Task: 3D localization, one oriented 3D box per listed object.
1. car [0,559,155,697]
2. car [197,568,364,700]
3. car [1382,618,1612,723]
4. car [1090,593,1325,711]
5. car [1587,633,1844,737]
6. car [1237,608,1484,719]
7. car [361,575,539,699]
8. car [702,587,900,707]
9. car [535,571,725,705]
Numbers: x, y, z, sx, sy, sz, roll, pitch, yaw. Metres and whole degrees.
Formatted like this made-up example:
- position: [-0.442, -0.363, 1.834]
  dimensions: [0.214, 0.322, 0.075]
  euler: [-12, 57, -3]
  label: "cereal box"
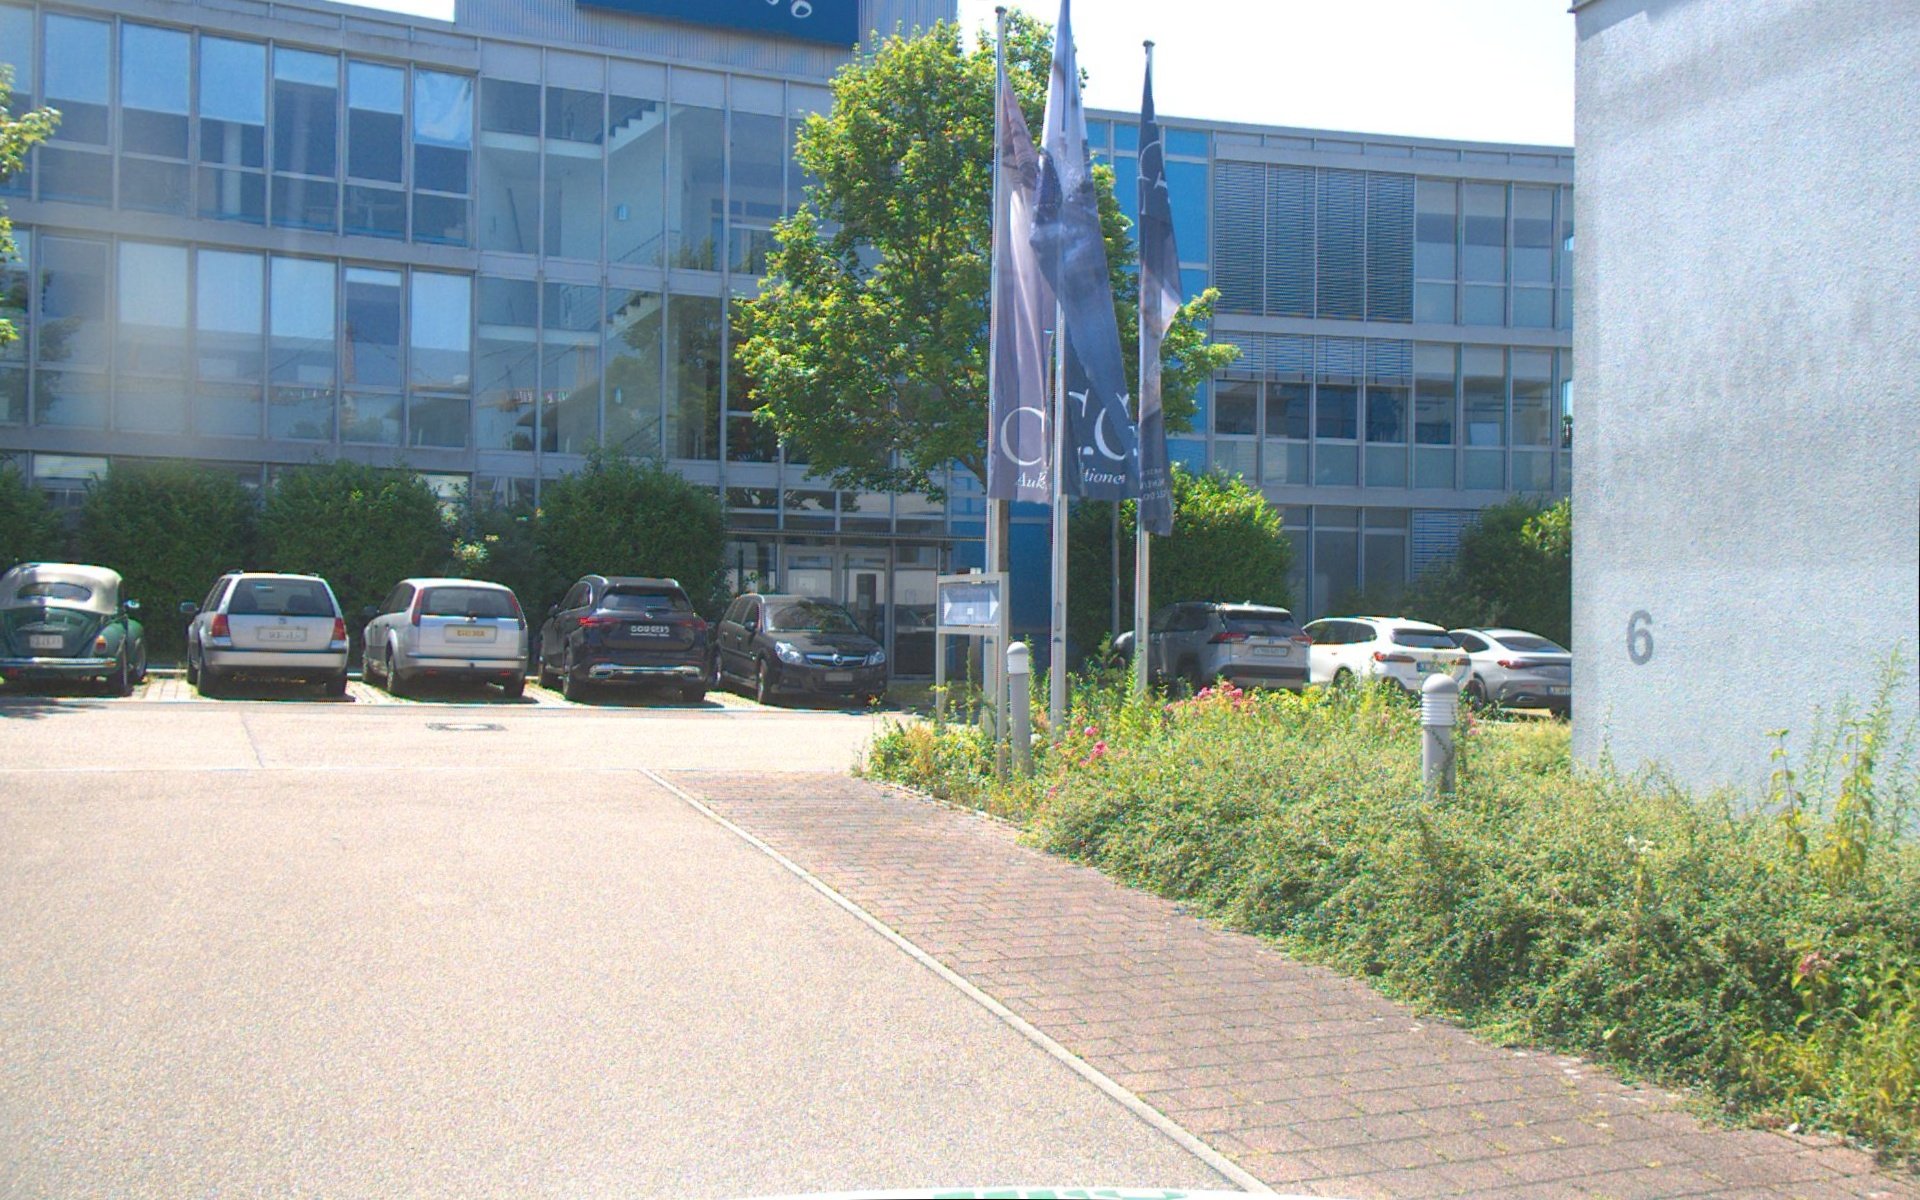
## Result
- position: [-10.757, 0.284, 19.997]
  dimensions: [1.520, 1.474, 3.630]
  euler: [3, 0, -22]
  label: "car"
- position: [-8.726, 0.383, 21.089]
  dimensions: [1.710, 1.474, 3.624]
  euler: [3, 0, -26]
  label: "car"
- position: [8.886, 1.117, 27.768]
  dimensions: [1.705, 1.454, 4.327]
  euler: [3, 0, -12]
  label: "car"
- position: [3.833, 0.765, 26.405]
  dimensions: [1.794, 1.648, 4.312]
  euler: [1, 1, -21]
  label: "car"
- position: [13.084, 1.433, 28.980]
  dimensions: [1.705, 1.472, 4.535]
  euler: [3, 0, -12]
  label: "car"
- position: [6.401, 0.980, 26.959]
  dimensions: [1.711, 1.517, 4.312]
  euler: [3, 0, -21]
  label: "car"
- position: [-6.983, 0.454, 22.445]
  dimensions: [1.743, 1.474, 3.624]
  euler: [3, 0, -26]
  label: "car"
- position: [-2.411, 0.623, 24.062]
  dimensions: [1.745, 1.507, 4.231]
  euler: [1, 1, -21]
  label: "car"
- position: [-4.709, 0.475, 23.159]
  dimensions: [1.900, 1.639, 3.961]
  euler: [3, 0, -22]
  label: "car"
